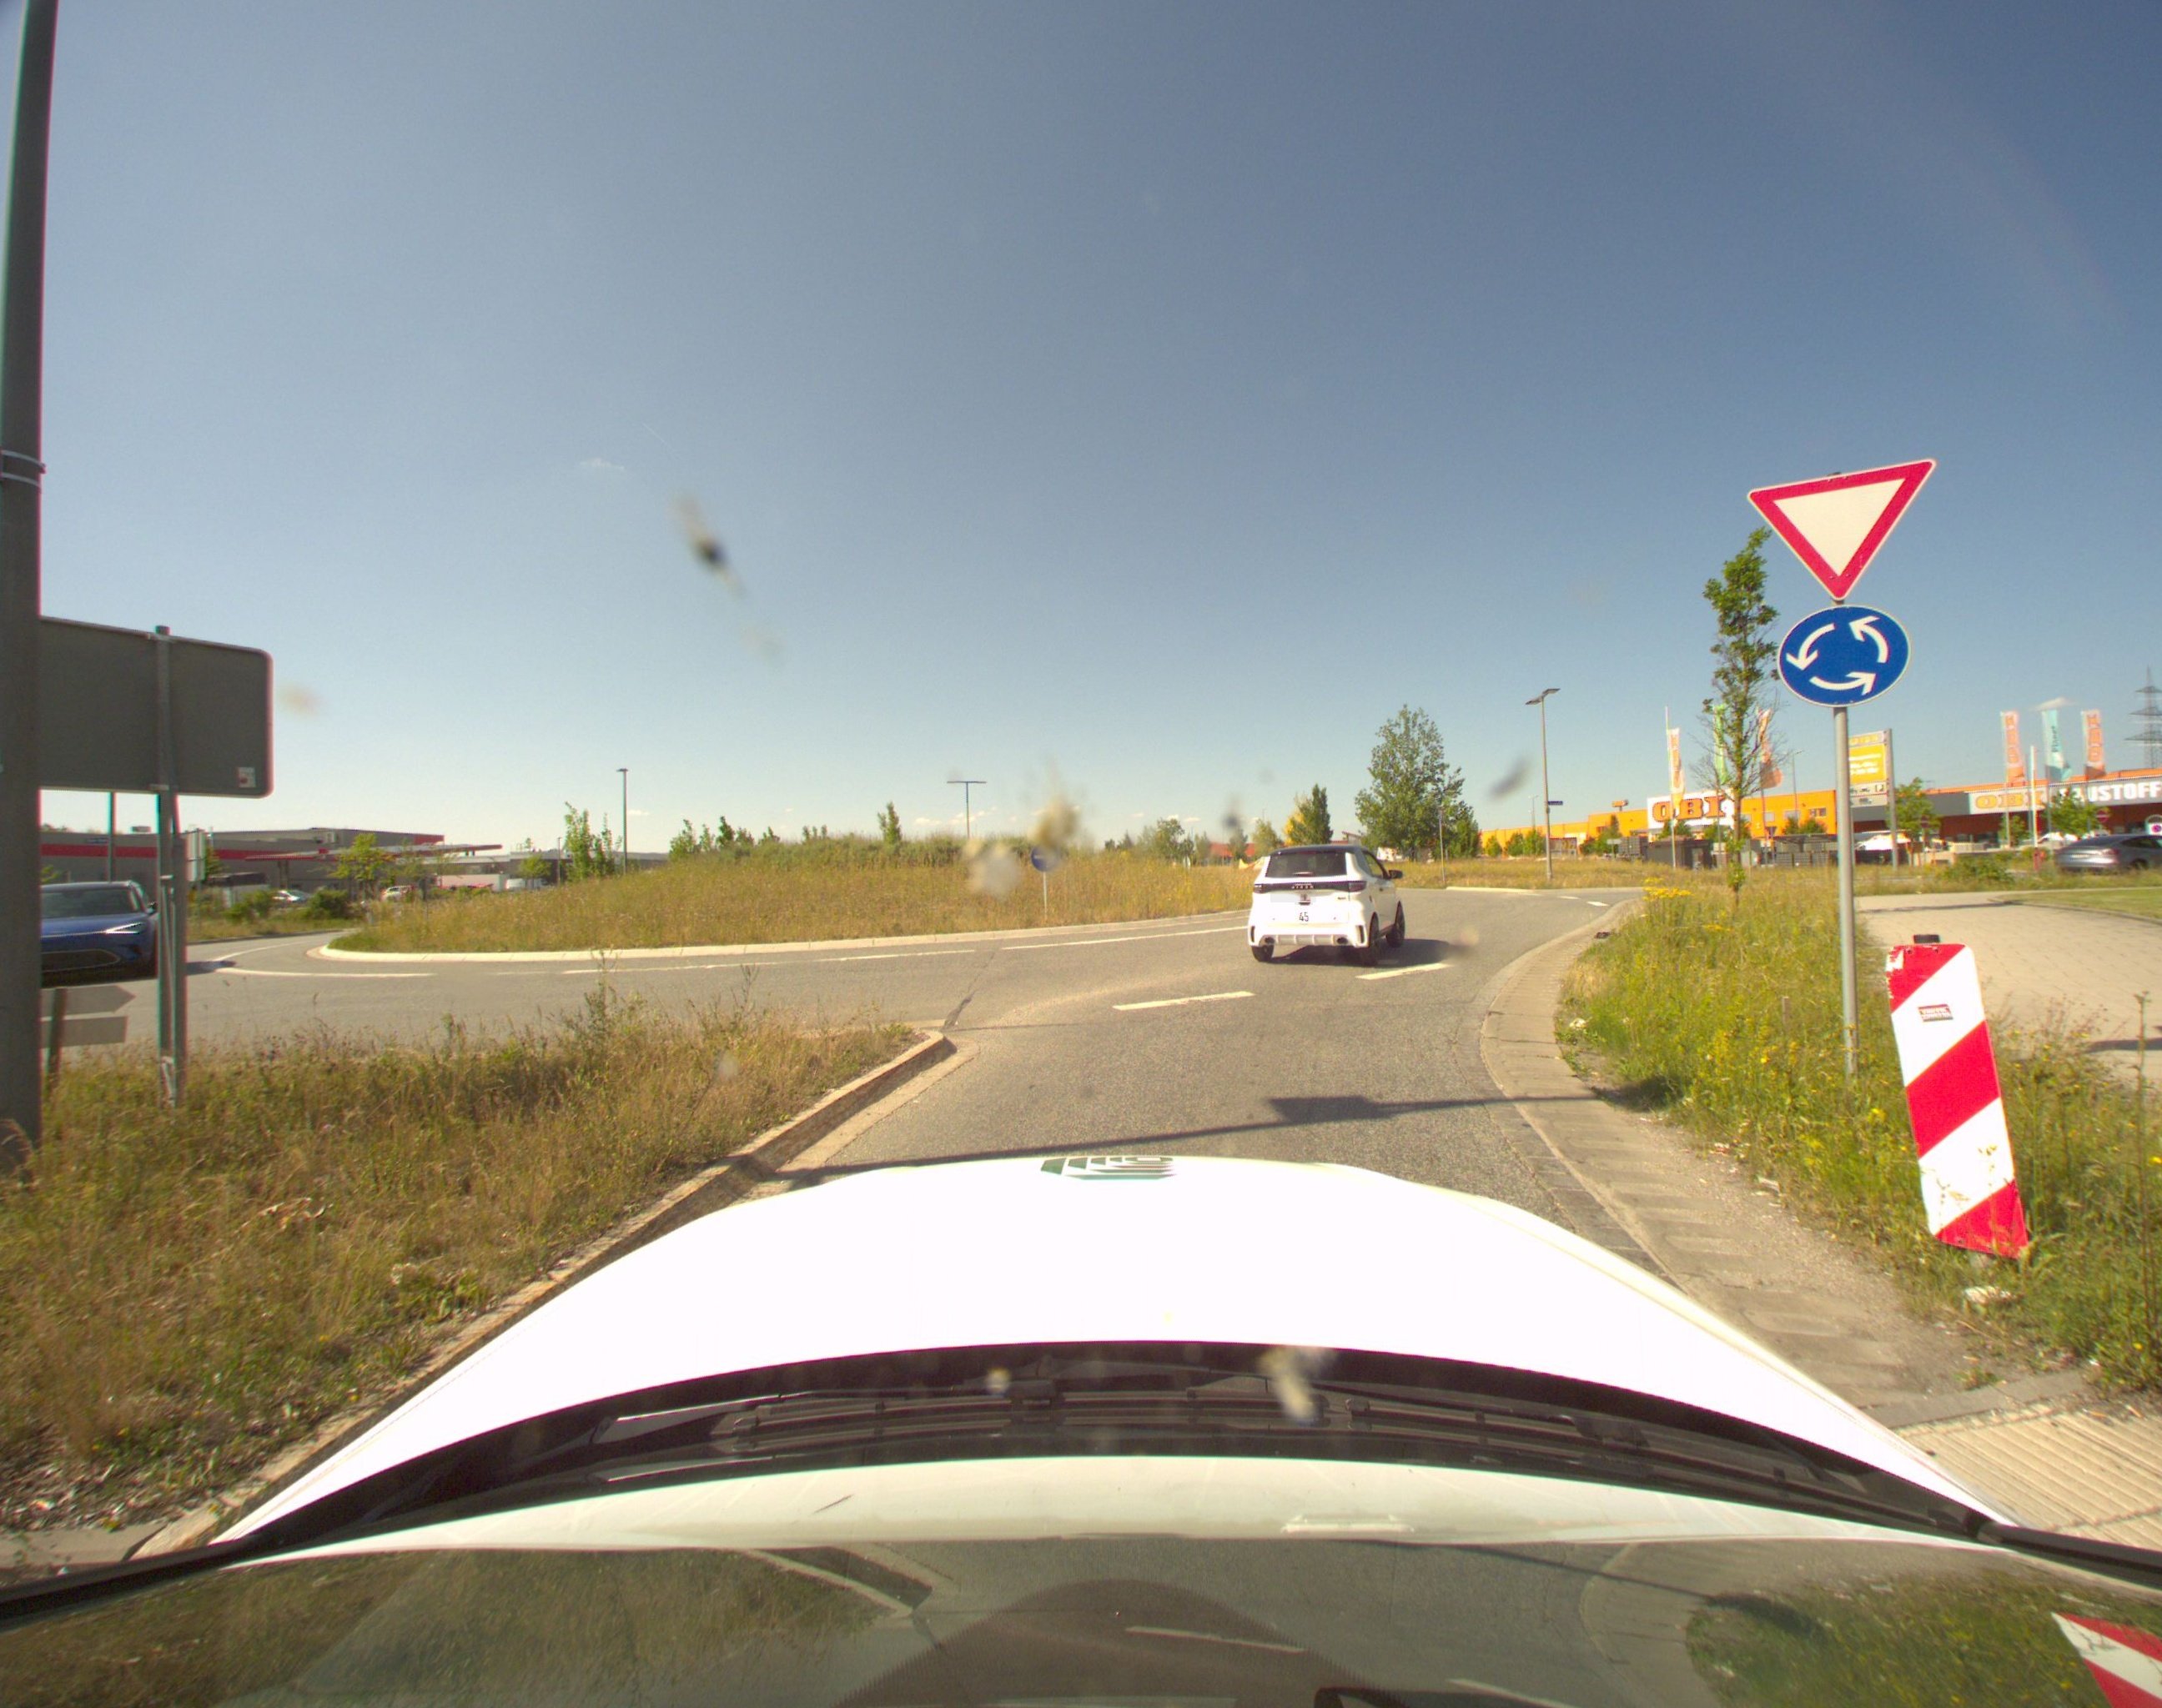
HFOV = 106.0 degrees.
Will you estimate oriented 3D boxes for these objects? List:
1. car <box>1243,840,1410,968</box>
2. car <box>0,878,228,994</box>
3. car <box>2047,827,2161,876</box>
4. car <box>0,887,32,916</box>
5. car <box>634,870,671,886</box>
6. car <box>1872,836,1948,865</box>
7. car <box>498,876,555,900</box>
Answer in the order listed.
[{"bbox_3d":[3.490,0.559,11.188,1.495,1.440,3.372,-1,1,29],"label":"car"},{"bbox_3d":[-16.793,1.298,14.079,1.864,1.635,4.038,-3,0,-33],"label":"car"},{"bbox_3d":[36.770,-0.104,28.419,4.147,1.584,1.828,-2,-1,-5],"label":"car"},{"bbox_3d":[-76.359,3.364,56.535,1.991,2.014,3.991,-2,-1,-6],"label":"car"},{"bbox_3d":[-46.914,2.612,89.259,1.989,1.732,3.995,-2,-1,-3],"label":"car"},{"bbox_3d":[56.095,-0.218,55.140,3.760,1.841,1.695,0,-2,-8],"label":"car"},{"bbox_3d":[-50.460,3.061,74.252,1.990,2.014,5.126,-2,-1,-5],"label":"car"}]
